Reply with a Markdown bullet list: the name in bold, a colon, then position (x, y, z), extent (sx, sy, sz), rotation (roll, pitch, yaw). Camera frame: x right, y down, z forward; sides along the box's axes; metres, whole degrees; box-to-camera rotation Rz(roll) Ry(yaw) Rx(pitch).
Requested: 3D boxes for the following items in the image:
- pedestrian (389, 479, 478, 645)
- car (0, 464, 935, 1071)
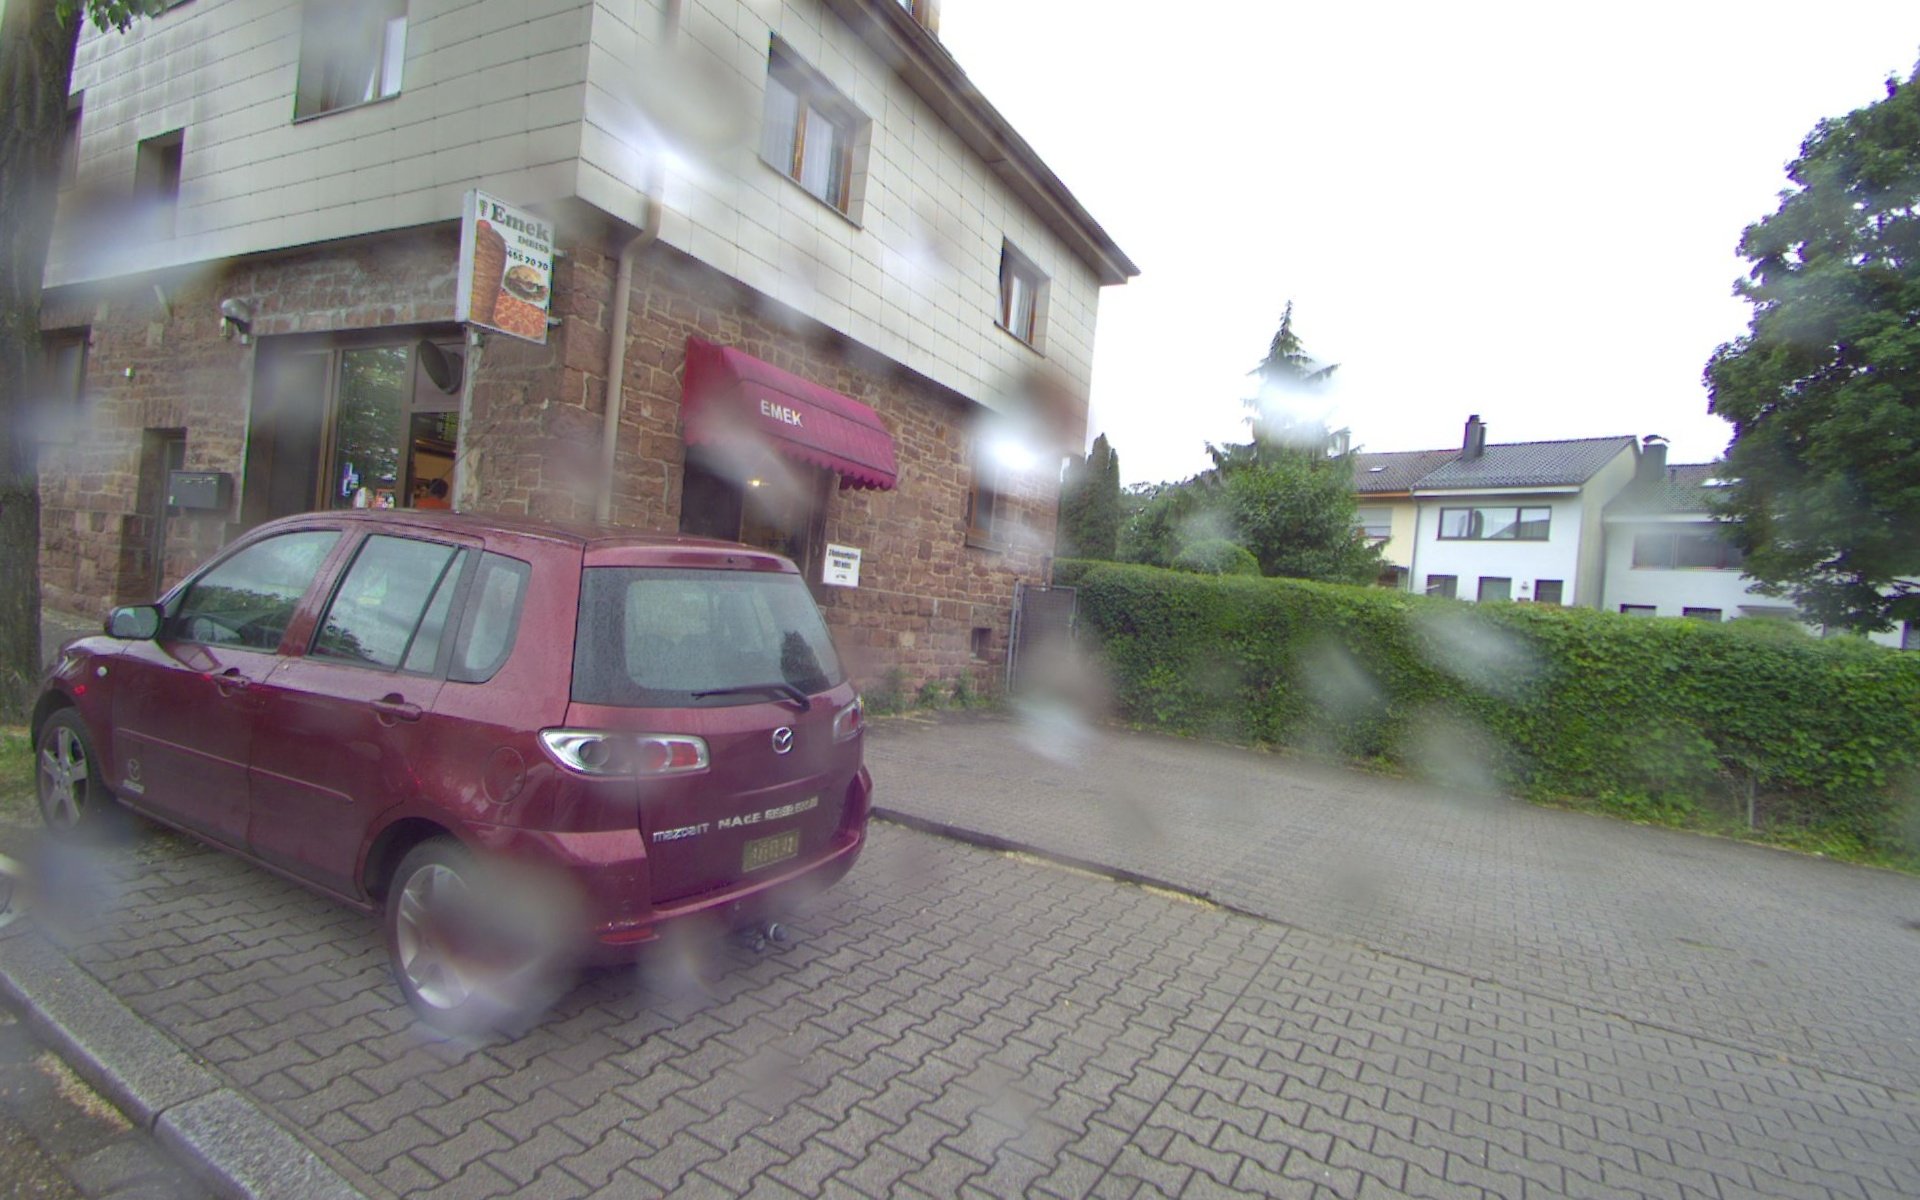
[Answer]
- **pedestrian**: position (-5.569, -0.398, 10.655), extent (0.447, 1.679, 0.493), rotation (7, -1, 31)
- **car**: position (-2.162, 0.375, 4.139), extent (3.692, 1.521, 1.614), rotation (5, -3, 29)
